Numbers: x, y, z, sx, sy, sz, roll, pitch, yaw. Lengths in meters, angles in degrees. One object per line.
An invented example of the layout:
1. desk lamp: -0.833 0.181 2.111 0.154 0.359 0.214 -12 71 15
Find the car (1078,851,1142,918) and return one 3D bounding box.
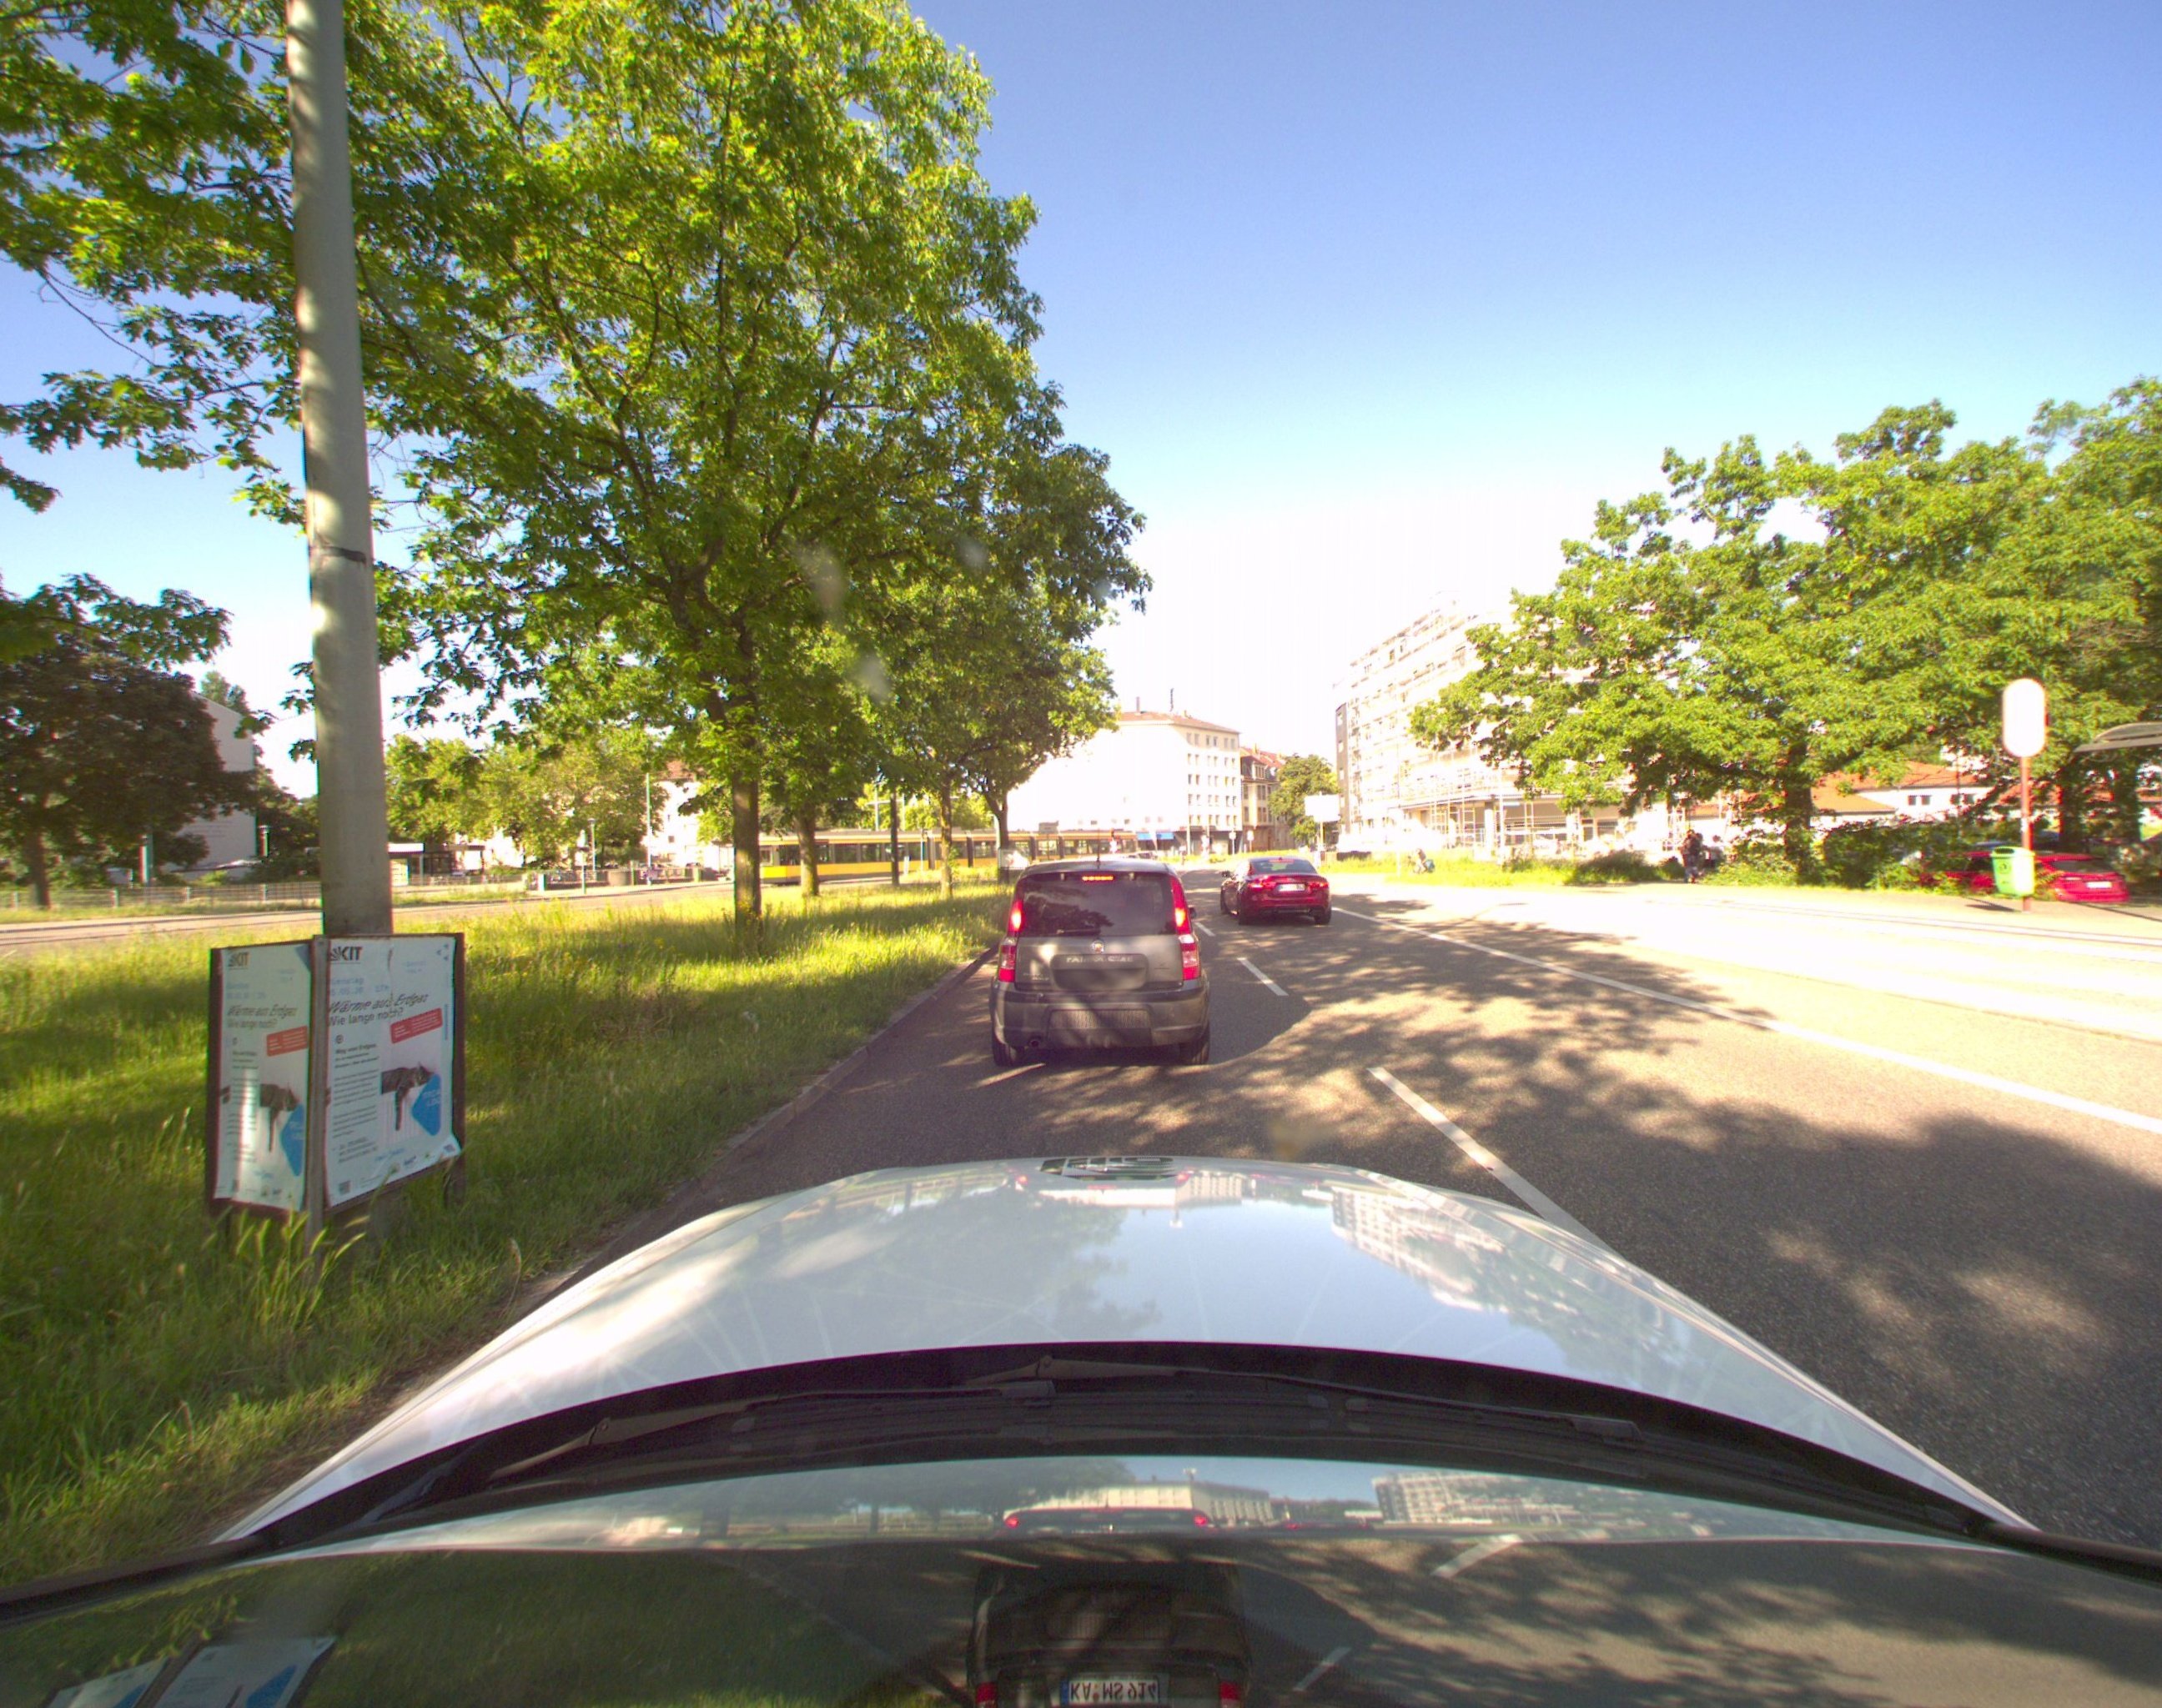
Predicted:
1. car: 0.726 0.698 20.797 1.458 1.508 3.506 -2 0 2

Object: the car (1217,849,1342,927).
1. car: 4.205 0.650 17.946 1.879 1.428 4.390 -1 1 3

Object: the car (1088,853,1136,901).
1. car: 1.028 0.729 27.324 1.458 1.424 3.383 -2 0 2

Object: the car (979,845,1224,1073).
1. car: 0.205 0.702 7.538 1.622 1.508 4.002 -2 0 2

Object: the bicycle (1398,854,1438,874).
1. bicycle: 16.955 0.505 40.989 1.776 0.945 0.562 -2 0 16

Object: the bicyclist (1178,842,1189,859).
1. bicyclist: 8.328 -0.279 66.107 0.739 1.438 0.845 0 -1 1

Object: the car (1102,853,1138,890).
1. car: 1.602 0.694 33.970 1.351 1.449 3.267 -2 0 2

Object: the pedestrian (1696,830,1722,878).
1. pedestrian: 19.355 0.006 25.097 0.516 1.447 0.595 -2 0 28

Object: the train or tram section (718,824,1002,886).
1. train or tram section: -13.833 -0.160 54.749 3.265 3.513 19.501 -2 0 44

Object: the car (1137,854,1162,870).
1. car: 4.867 0.578 57.719 1.133 1.064 2.735 -2 0 19

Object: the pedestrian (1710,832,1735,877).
1. pedestrian: 20.911 0.015 26.554 0.516 1.447 0.595 -2 0 28

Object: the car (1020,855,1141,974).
1. car: 0.049 0.747 11.766 1.458 1.401 3.395 -2 0 2

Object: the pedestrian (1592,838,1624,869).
1. pedestrian: 25.671 -0.025 39.683 0.893 1.447 0.962 -2 0 -13

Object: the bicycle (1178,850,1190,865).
1. bicycle: 8.332 0.282 66.212 0.706 1.198 2.520 0 -1 1

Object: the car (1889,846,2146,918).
1. car: 21.987 0.598 19.377 1.747 1.486 3.743 -2 0 -2

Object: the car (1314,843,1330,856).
1. car: 27.743 -0.528 93.561 1.514 1.314 3.304 -2 0 20

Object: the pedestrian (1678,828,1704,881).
1. pedestrian: 18.557 0.014 24.788 0.516 1.612 0.595 -2 0 28

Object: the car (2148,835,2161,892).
1. car: 29.862 0.220 20.180 1.911 1.486 3.725 -2 0 -17

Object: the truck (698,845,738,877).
1. truck: -33.073 0.636 74.207 2.012 2.805 3.951 -2 0 -44

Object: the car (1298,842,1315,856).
1. car: 24.918 -0.532 89.999 1.669 1.449 3.588 -2 0 18

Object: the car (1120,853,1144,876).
1. car: 3.097 0.623 49.687 1.351 1.281 2.877 -2 0 2

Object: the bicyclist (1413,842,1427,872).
1. bicyclist: 17.064 0.152 40.995 0.579 1.493 0.553 -2 0 17

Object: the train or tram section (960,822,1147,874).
1. train or tram section: -1.504 -0.660 69.235 3.263 3.770 20.943 -2 0 37
